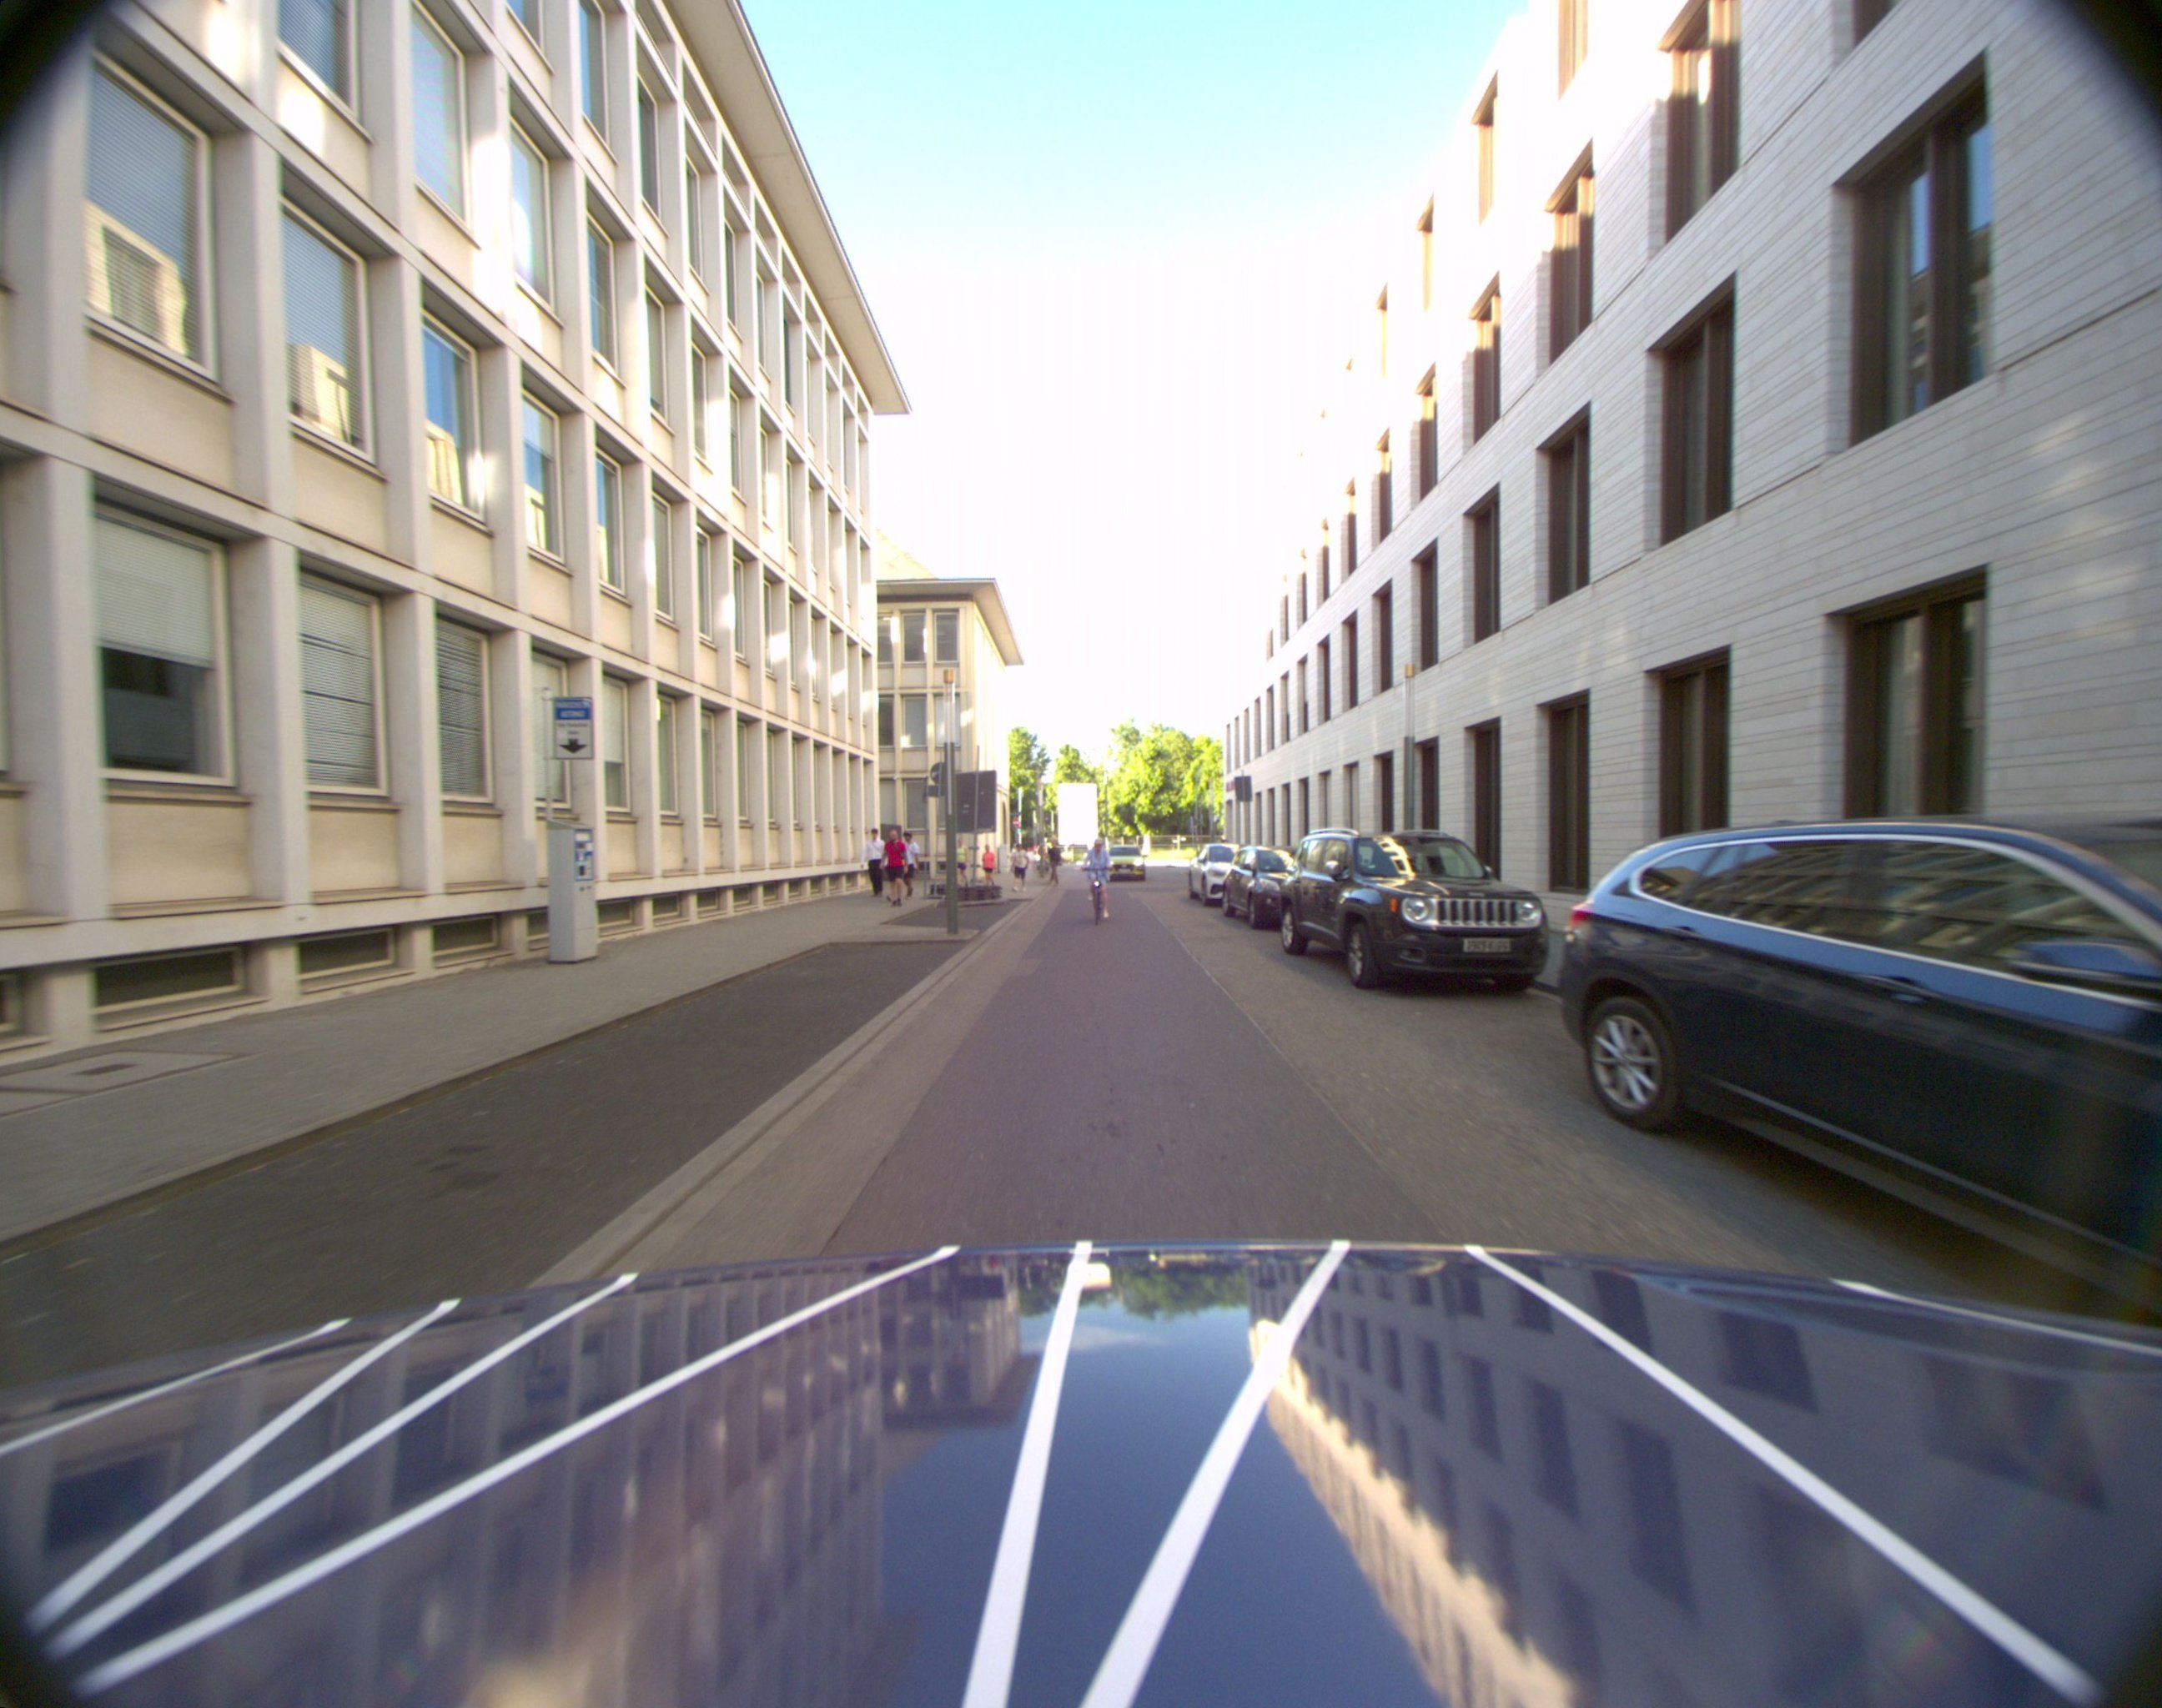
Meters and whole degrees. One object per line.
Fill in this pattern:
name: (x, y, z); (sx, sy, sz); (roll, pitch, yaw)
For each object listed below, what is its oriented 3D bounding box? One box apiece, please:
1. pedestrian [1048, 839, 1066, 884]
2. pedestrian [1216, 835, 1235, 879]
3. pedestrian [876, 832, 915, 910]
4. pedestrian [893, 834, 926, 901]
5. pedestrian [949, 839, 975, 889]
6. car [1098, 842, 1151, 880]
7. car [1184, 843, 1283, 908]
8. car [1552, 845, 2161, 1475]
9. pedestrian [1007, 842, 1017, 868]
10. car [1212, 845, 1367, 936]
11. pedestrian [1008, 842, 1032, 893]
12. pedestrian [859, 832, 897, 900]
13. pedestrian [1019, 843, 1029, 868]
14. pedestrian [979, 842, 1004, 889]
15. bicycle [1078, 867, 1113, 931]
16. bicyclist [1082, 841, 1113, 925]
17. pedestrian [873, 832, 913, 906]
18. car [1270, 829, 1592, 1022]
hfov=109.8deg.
pedestrian: (-0.986, 0.311, 30.706); (0.643, 1.780, 0.575); (2, 3, 1)
pedestrian: (5.913, 0.105, 31.105); (0.645, 1.780, 0.816); (-1, 2, 1)
pedestrian: (-4.342, 0.394, 17.797); (0.684, 1.769, 0.593); (3, 2, 3)
pedestrian: (-4.617, 0.353, 20.456); (0.684, 1.769, 0.693); (1, 2, 3)
pedestrian: (-4.187, 0.340, 26.780); (0.684, 1.706, 0.693); (3, 2, 3)
car: (1.848, 0.270, 33.741); (1.999, 1.451, 4.434); (-2, 2, -1)
car: (3.962, 0.487, 20.415); (1.827, 1.533, 4.446); (1, 1, 1)
car: (3.619, 0.786, 2.352); (1.744, 1.585, 4.153); (1, 1, 1)
pedestrian: (-4.421, 0.079, 48.710); (0.626, 1.633, 0.623); (-2, 2, -4)
car: (3.909, 0.593, 15.025); (1.827, 1.533, 4.262); (-1, 1, -1)
pedestrian: (-2.111, 0.445, 26.390); (0.684, 1.706, 0.693); (3, 2, 3)
pedestrian: (-5.492, 0.313, 20.596); (0.684, 1.769, 0.693); (5, 2, 3)
pedestrian: (-3.697, 0.097, 49.113); (0.626, 1.605, 0.623); (-2, 2, -4)
pedestrian: (-3.145, 0.397, 26.715); (0.684, 1.627, 0.693); (2, 2, 3)
bicycle: (0.327, 0.872, 15.469); (0.595, 1.077, 2.310); (-1, 2, 4)
bicyclist: (0.341, 0.584, 15.603); (0.585, 1.680, 0.538); (-1, 2, 3)
pedestrian: (-4.680, 0.355, 18.957); (0.684, 1.769, 0.693); (5, 2, 3)
car: (3.655, 0.623, 8.860); (1.827, 1.705, 4.017); (1, 1, -1)
